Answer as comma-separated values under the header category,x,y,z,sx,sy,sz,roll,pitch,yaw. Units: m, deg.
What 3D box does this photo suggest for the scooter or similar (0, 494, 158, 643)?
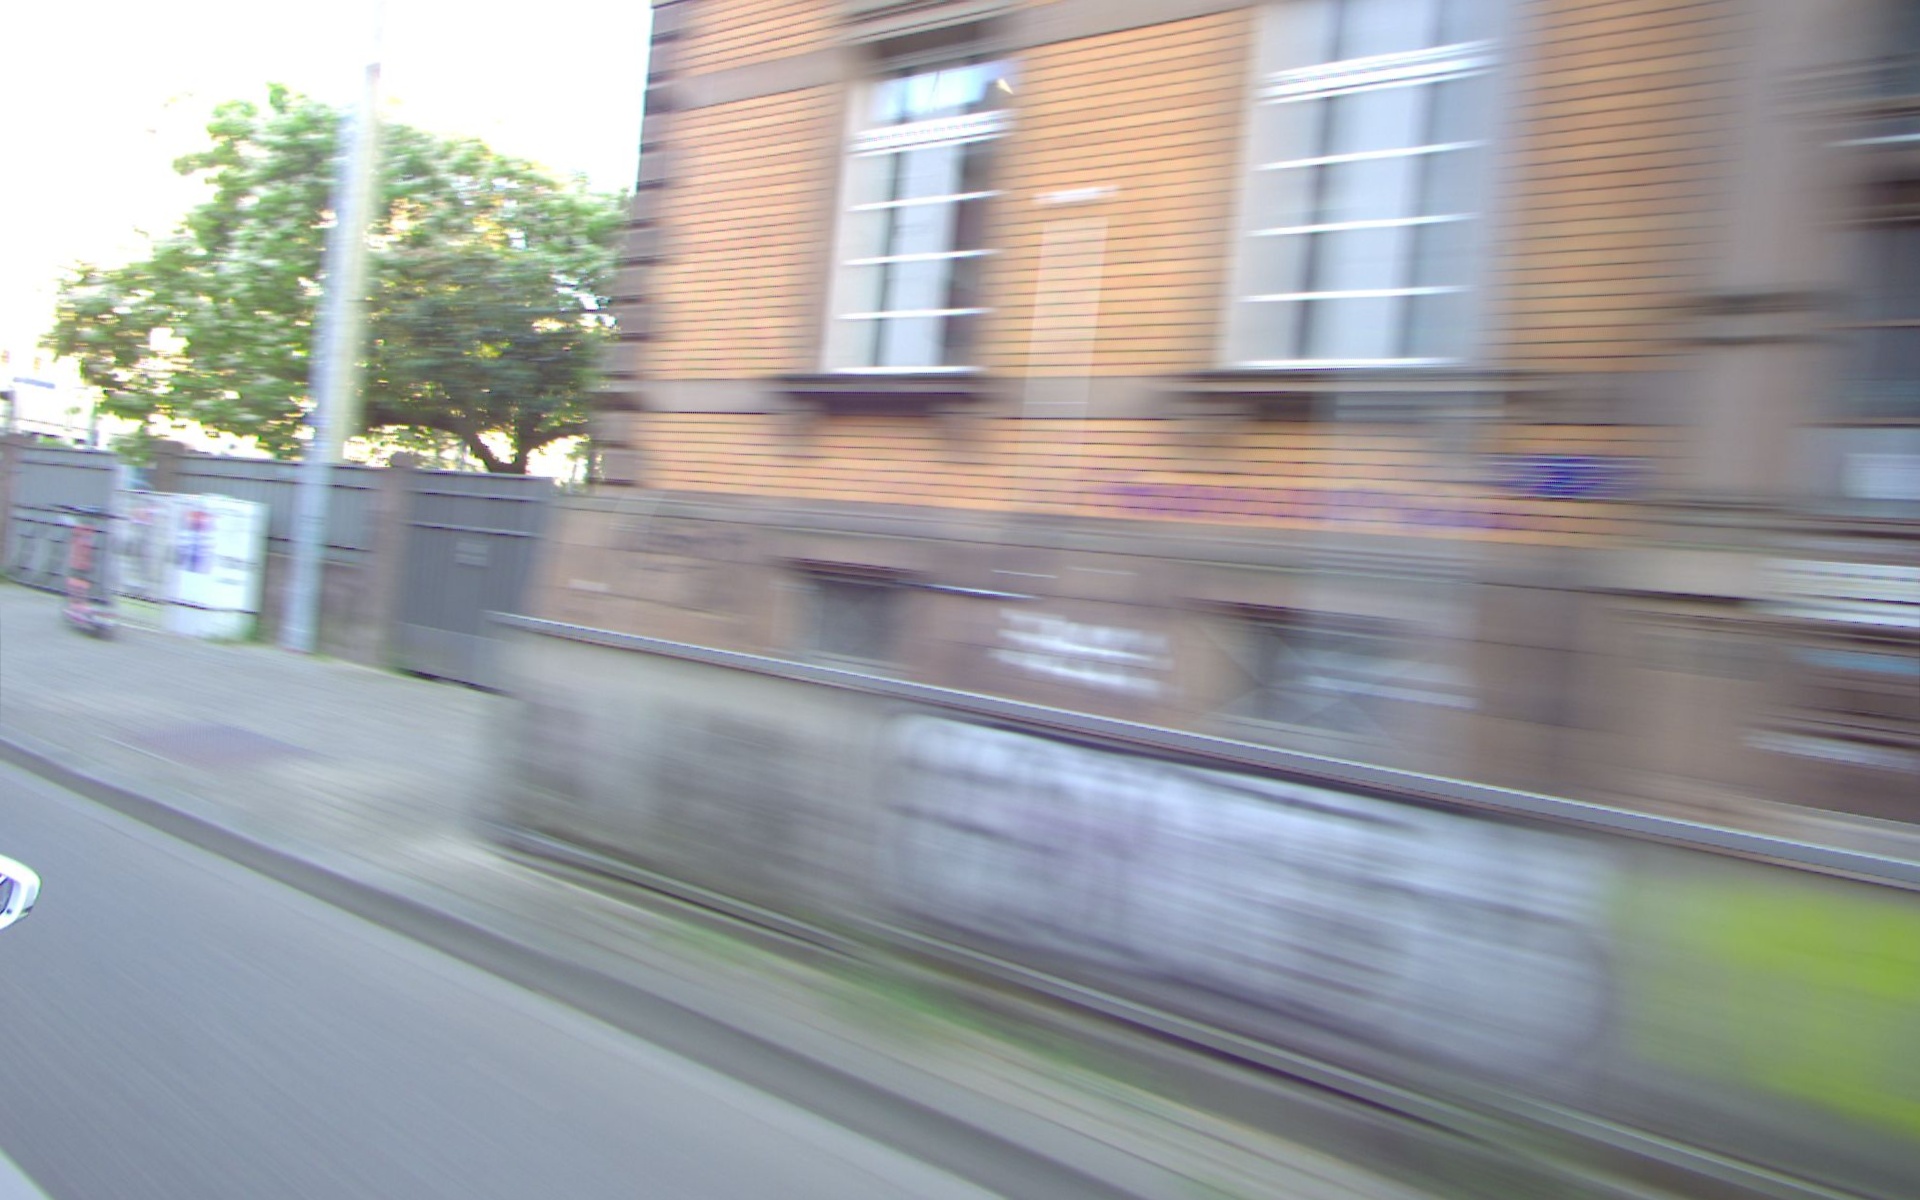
category,x,y,z,sx,sy,sz,roll,pitch,yaw
scooter or similar,-8.582,-0.312,9.789,1.556,1.283,0.642,7,3,30
